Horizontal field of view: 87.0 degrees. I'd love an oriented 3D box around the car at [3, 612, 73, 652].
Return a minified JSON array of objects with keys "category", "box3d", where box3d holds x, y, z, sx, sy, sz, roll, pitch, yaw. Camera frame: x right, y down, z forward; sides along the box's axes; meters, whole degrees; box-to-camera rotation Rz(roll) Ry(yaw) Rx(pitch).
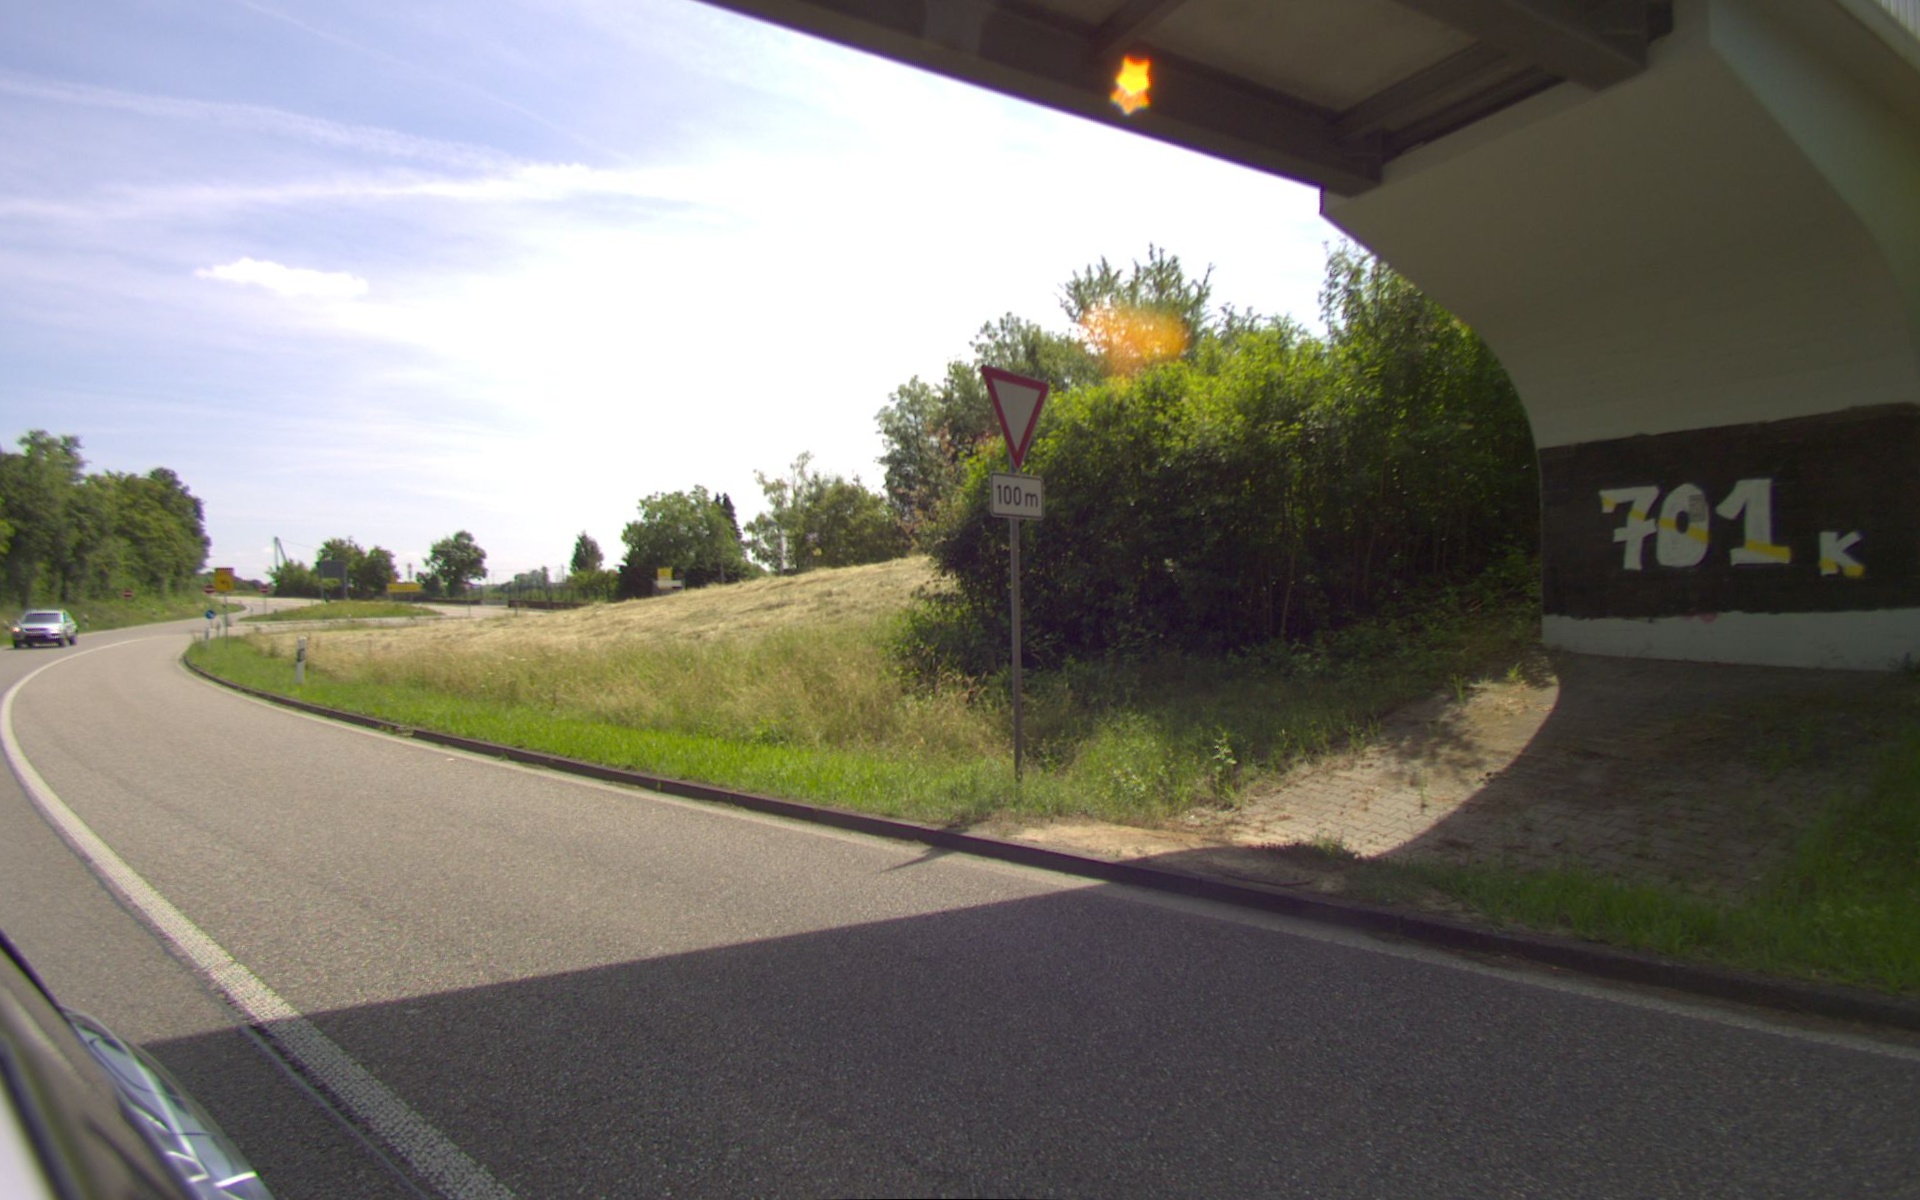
[{"category":"car","box3d":[-42.310,1.435,46.519,1.819,1.721,4.099,-1,0,-34]}]
